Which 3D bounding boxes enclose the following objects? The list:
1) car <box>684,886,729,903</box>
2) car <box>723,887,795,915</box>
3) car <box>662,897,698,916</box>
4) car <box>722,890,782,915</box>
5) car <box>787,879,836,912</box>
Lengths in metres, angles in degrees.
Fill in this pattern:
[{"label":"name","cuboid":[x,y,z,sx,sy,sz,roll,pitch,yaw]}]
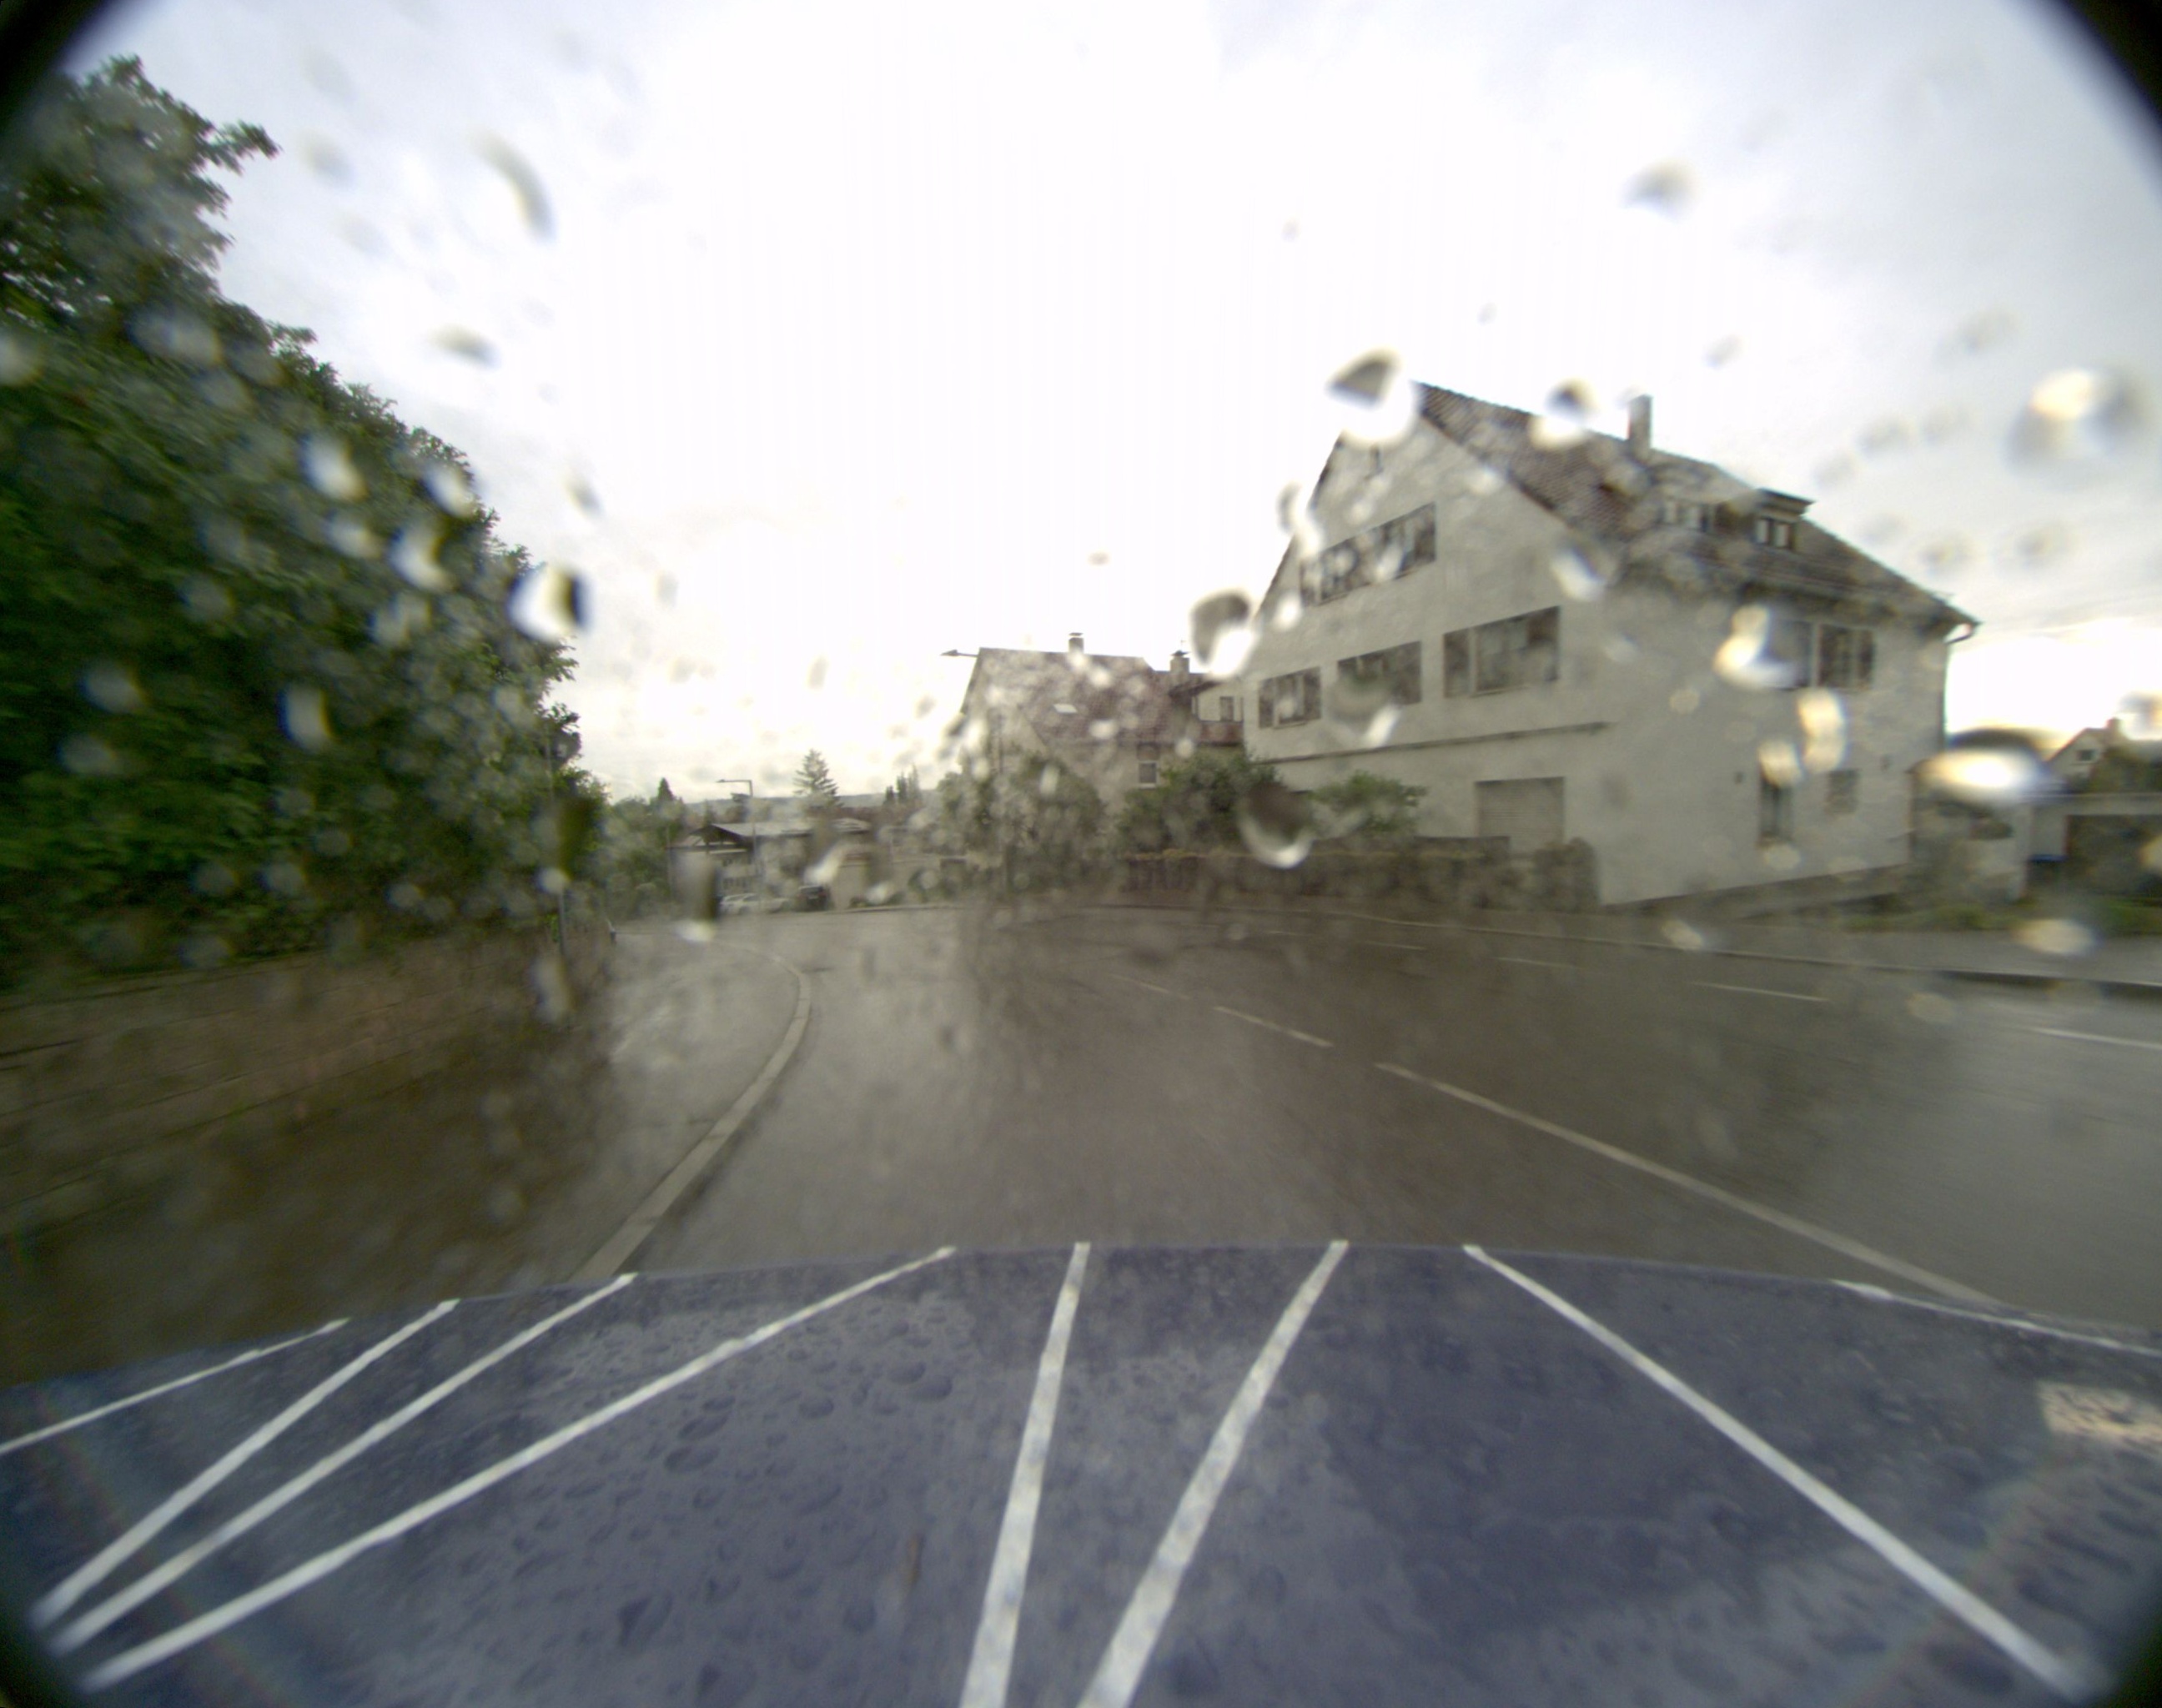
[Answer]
[{"label":"car","cuboid":[-40.948,4.397,83.166,4.006,1.499,1.799,-4,2,-39]},{"label":"car","cuboid":[-23.160,3.369,54.662,4.516,1.496,1.897,-5,-1,-28]},{"label":"car","cuboid":[-34.556,4.568,65.486,1.904,1.432,4.436,-3,-2,-38]},{"label":"car","cuboid":[-24.777,3.631,57.351,4.003,1.496,1.898,-5,-1,-21]},{"label":"car","cuboid":[-15.930,2.457,44.715,1.983,1.649,4.954,-5,-1,-27]}]
